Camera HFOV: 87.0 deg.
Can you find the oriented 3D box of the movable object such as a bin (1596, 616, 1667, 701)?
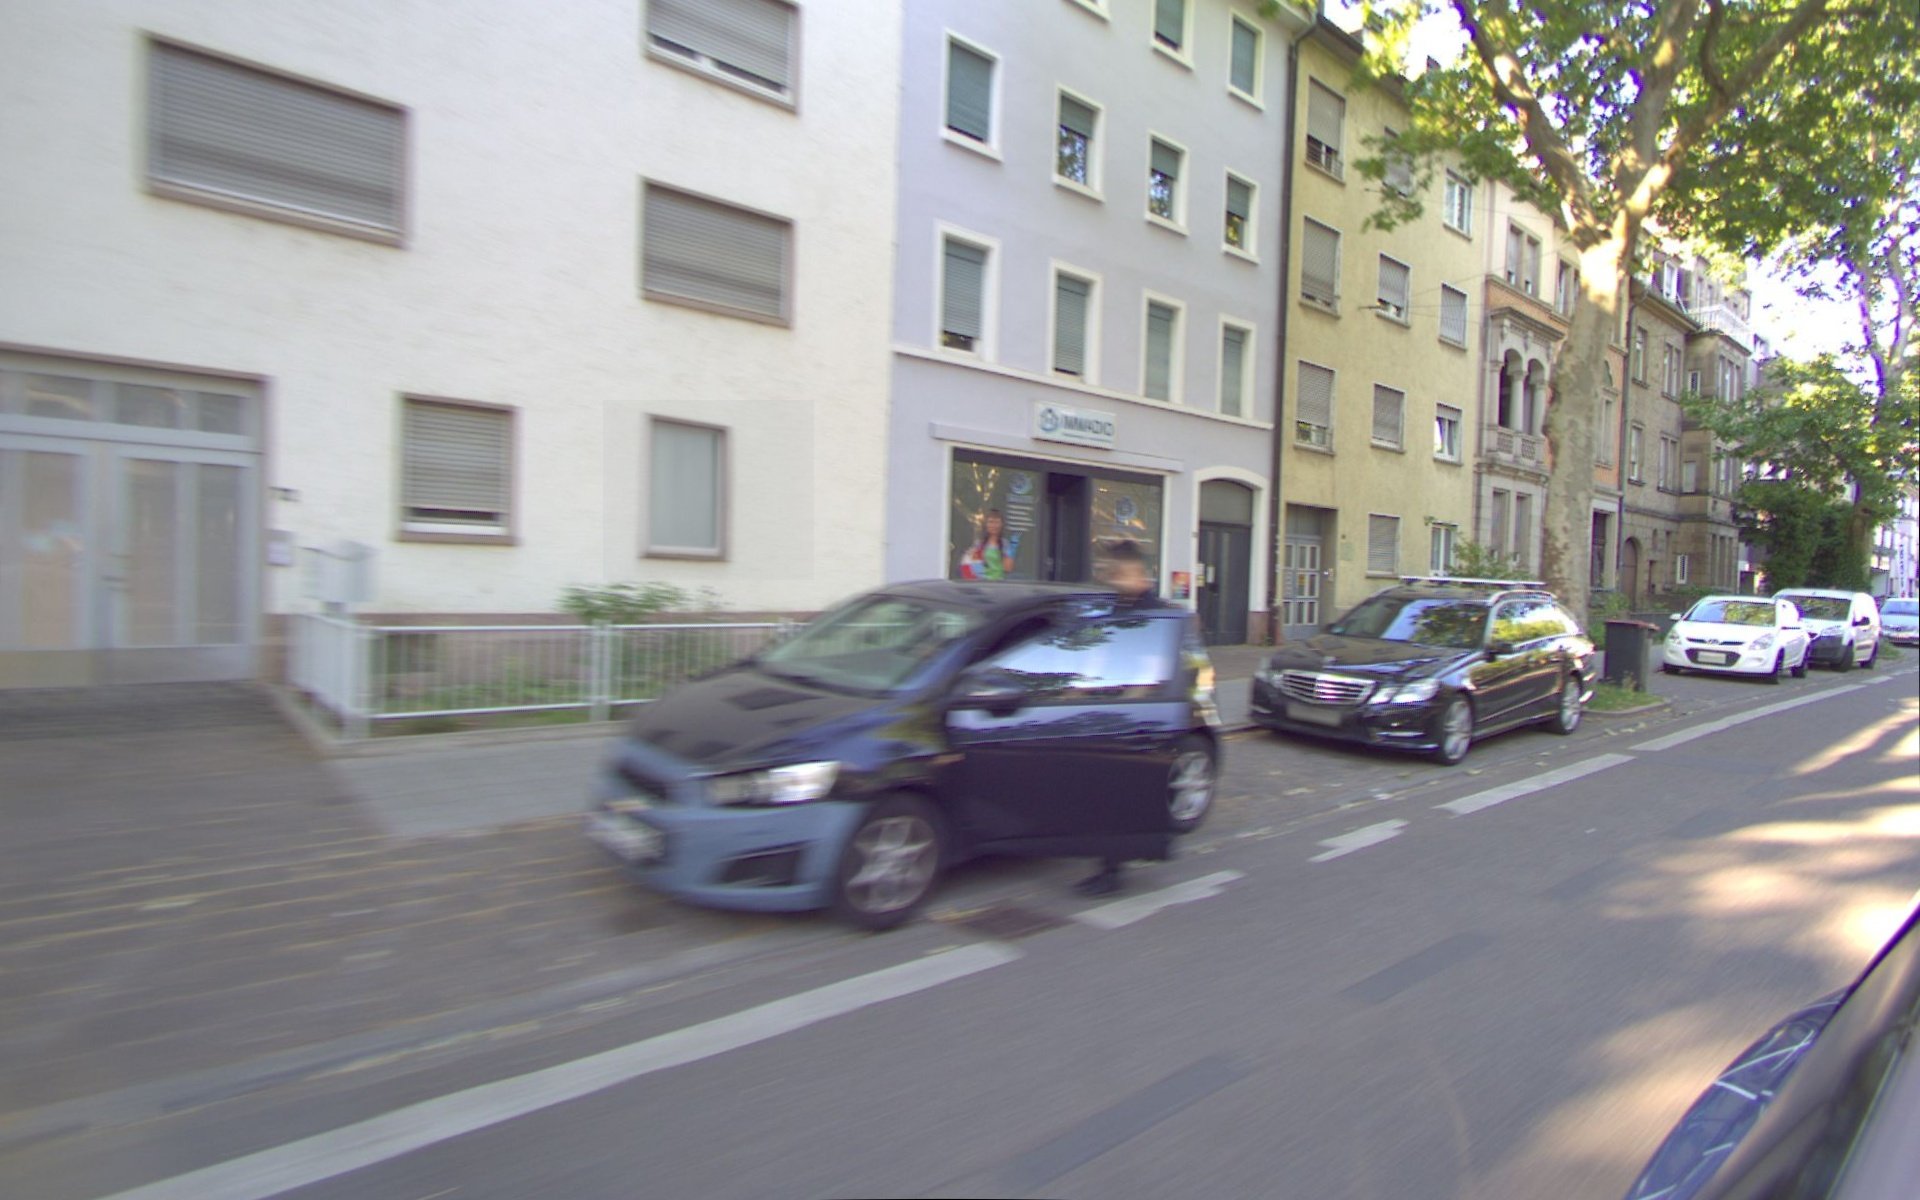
[{"bbox_3d":[9.501,0.810,14.325,0.658,1.130,0.683,0,0,-39],"label":"movable object such as a bin"}]

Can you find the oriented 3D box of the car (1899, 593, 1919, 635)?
[{"bbox_3d":[35.944,0.549,37.106,3.507,1.484,1.790,0,4,-41],"label":"car"}]

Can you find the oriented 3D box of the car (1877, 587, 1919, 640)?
[{"bbox_3d":[32.055,0.452,33.634,3.762,1.638,1.790,0,4,-41],"label":"car"}]

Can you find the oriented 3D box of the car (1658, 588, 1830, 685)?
[{"bbox_3d":[14.608,0.609,18.782,4.121,1.545,1.702,0,2,-41],"label":"car"}]

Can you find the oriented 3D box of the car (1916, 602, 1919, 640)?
[{"bbox_3d":[39.470,0.886,40.184,3.507,1.484,1.790,0,4,-41],"label":"car"}]

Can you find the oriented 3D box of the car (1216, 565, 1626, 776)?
[{"bbox_3d":[4.845,0.535,10.331,4.582,1.584,1.999,0,5,-41],"label":"car"}]

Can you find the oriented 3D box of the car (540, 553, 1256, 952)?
[{"bbox_3d":[-0.083,0.548,5.844,1.744,1.481,3.961,4,2,45],"label":"car"}]

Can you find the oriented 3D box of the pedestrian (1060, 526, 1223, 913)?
[{"bbox_3d":[0.873,0.545,5.029,0.665,1.773,0.757,0,0,1],"label":"pedestrian"}]

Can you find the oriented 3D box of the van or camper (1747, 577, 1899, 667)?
[{"bbox_3d":[19.401,0.447,22.697,4.300,1.741,1.791,1,3,-40],"label":"van or camper"}]
